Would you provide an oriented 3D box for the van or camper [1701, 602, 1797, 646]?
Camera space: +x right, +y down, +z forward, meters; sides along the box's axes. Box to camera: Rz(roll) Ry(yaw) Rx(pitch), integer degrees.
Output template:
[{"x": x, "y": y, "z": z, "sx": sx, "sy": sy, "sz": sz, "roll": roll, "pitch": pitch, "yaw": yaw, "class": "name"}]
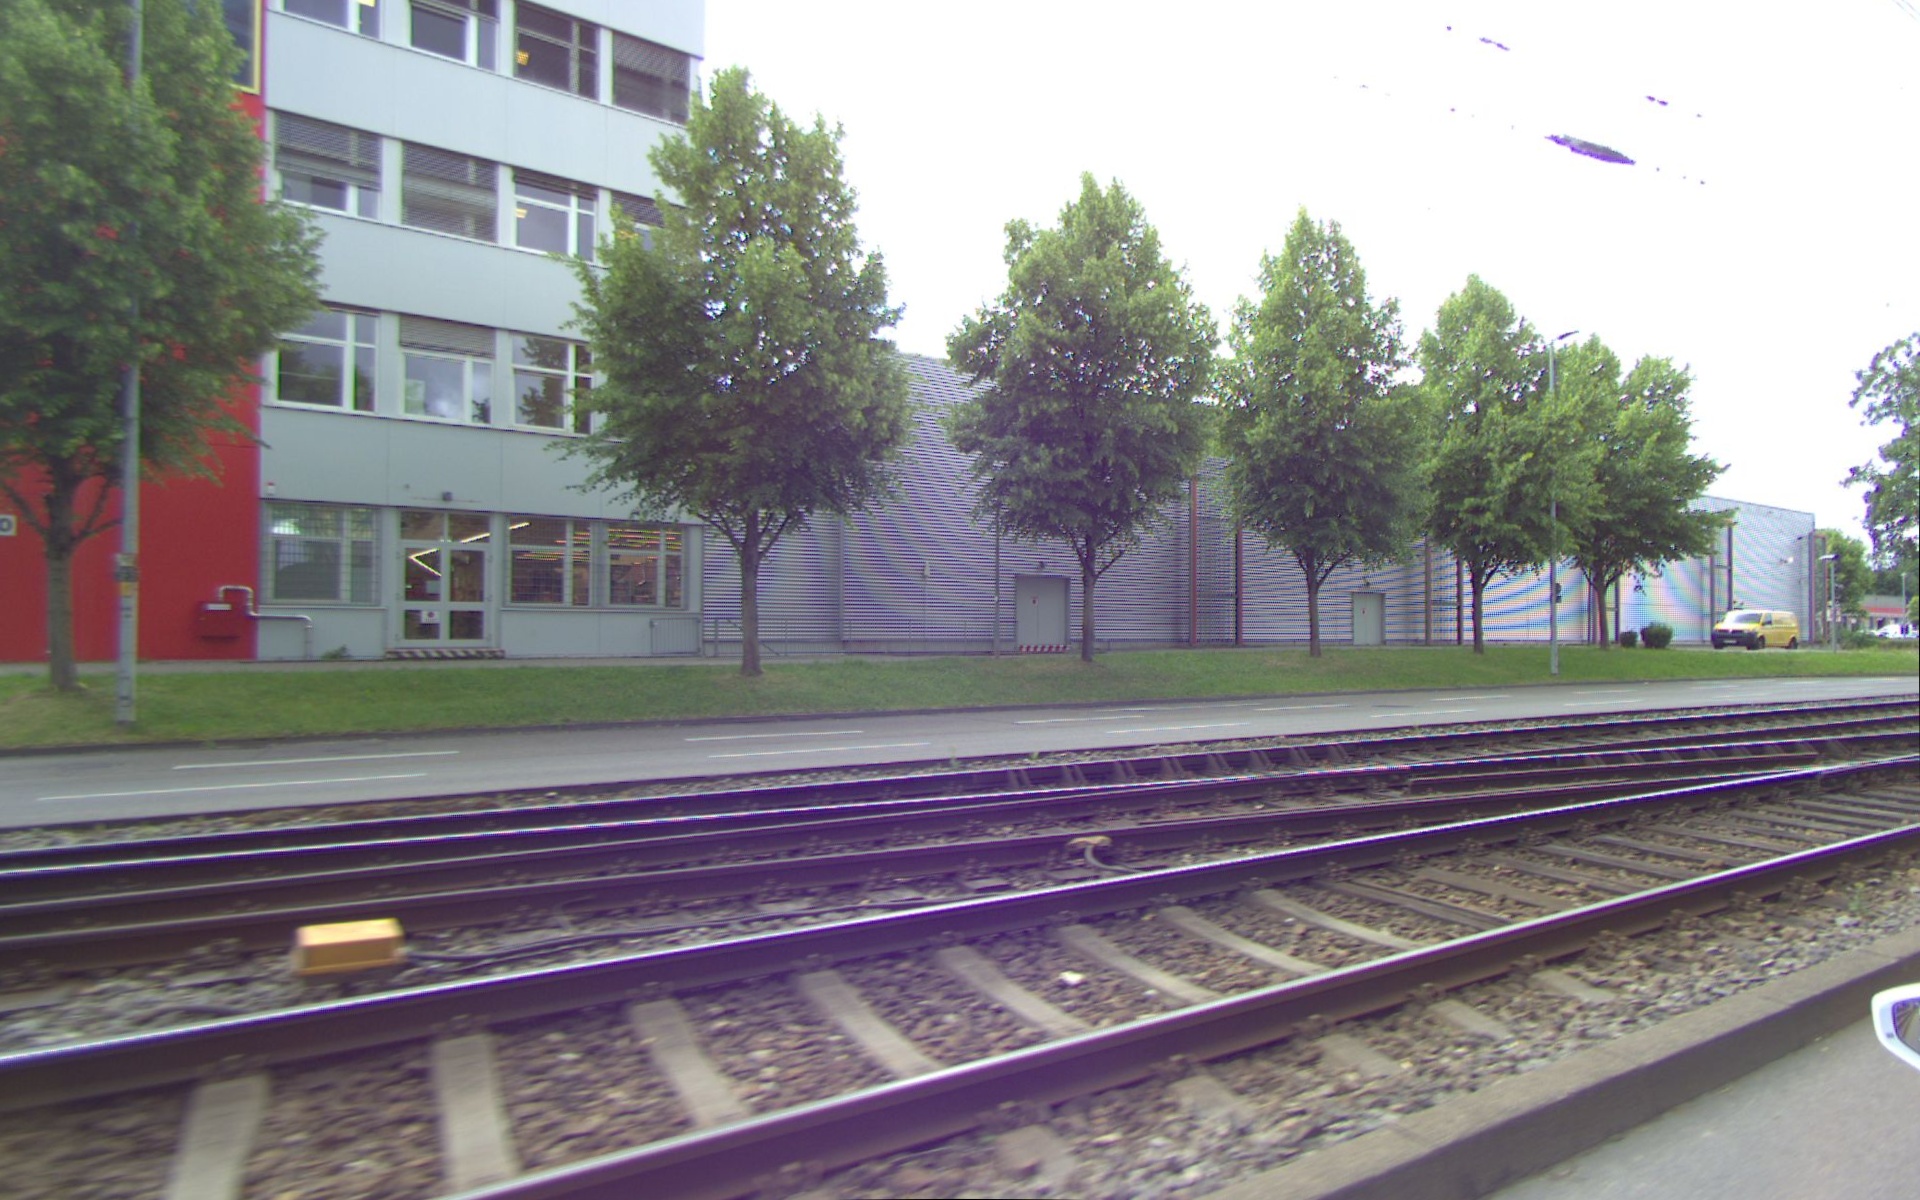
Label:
[{"x": 38.378, "y": 1.168, "z": 48.837, "sx": 5.184, "sy": 2.040, "sz": 2.092, "roll": 1, "pitch": -1, "yaw": -32, "class": "van or camper"}]
